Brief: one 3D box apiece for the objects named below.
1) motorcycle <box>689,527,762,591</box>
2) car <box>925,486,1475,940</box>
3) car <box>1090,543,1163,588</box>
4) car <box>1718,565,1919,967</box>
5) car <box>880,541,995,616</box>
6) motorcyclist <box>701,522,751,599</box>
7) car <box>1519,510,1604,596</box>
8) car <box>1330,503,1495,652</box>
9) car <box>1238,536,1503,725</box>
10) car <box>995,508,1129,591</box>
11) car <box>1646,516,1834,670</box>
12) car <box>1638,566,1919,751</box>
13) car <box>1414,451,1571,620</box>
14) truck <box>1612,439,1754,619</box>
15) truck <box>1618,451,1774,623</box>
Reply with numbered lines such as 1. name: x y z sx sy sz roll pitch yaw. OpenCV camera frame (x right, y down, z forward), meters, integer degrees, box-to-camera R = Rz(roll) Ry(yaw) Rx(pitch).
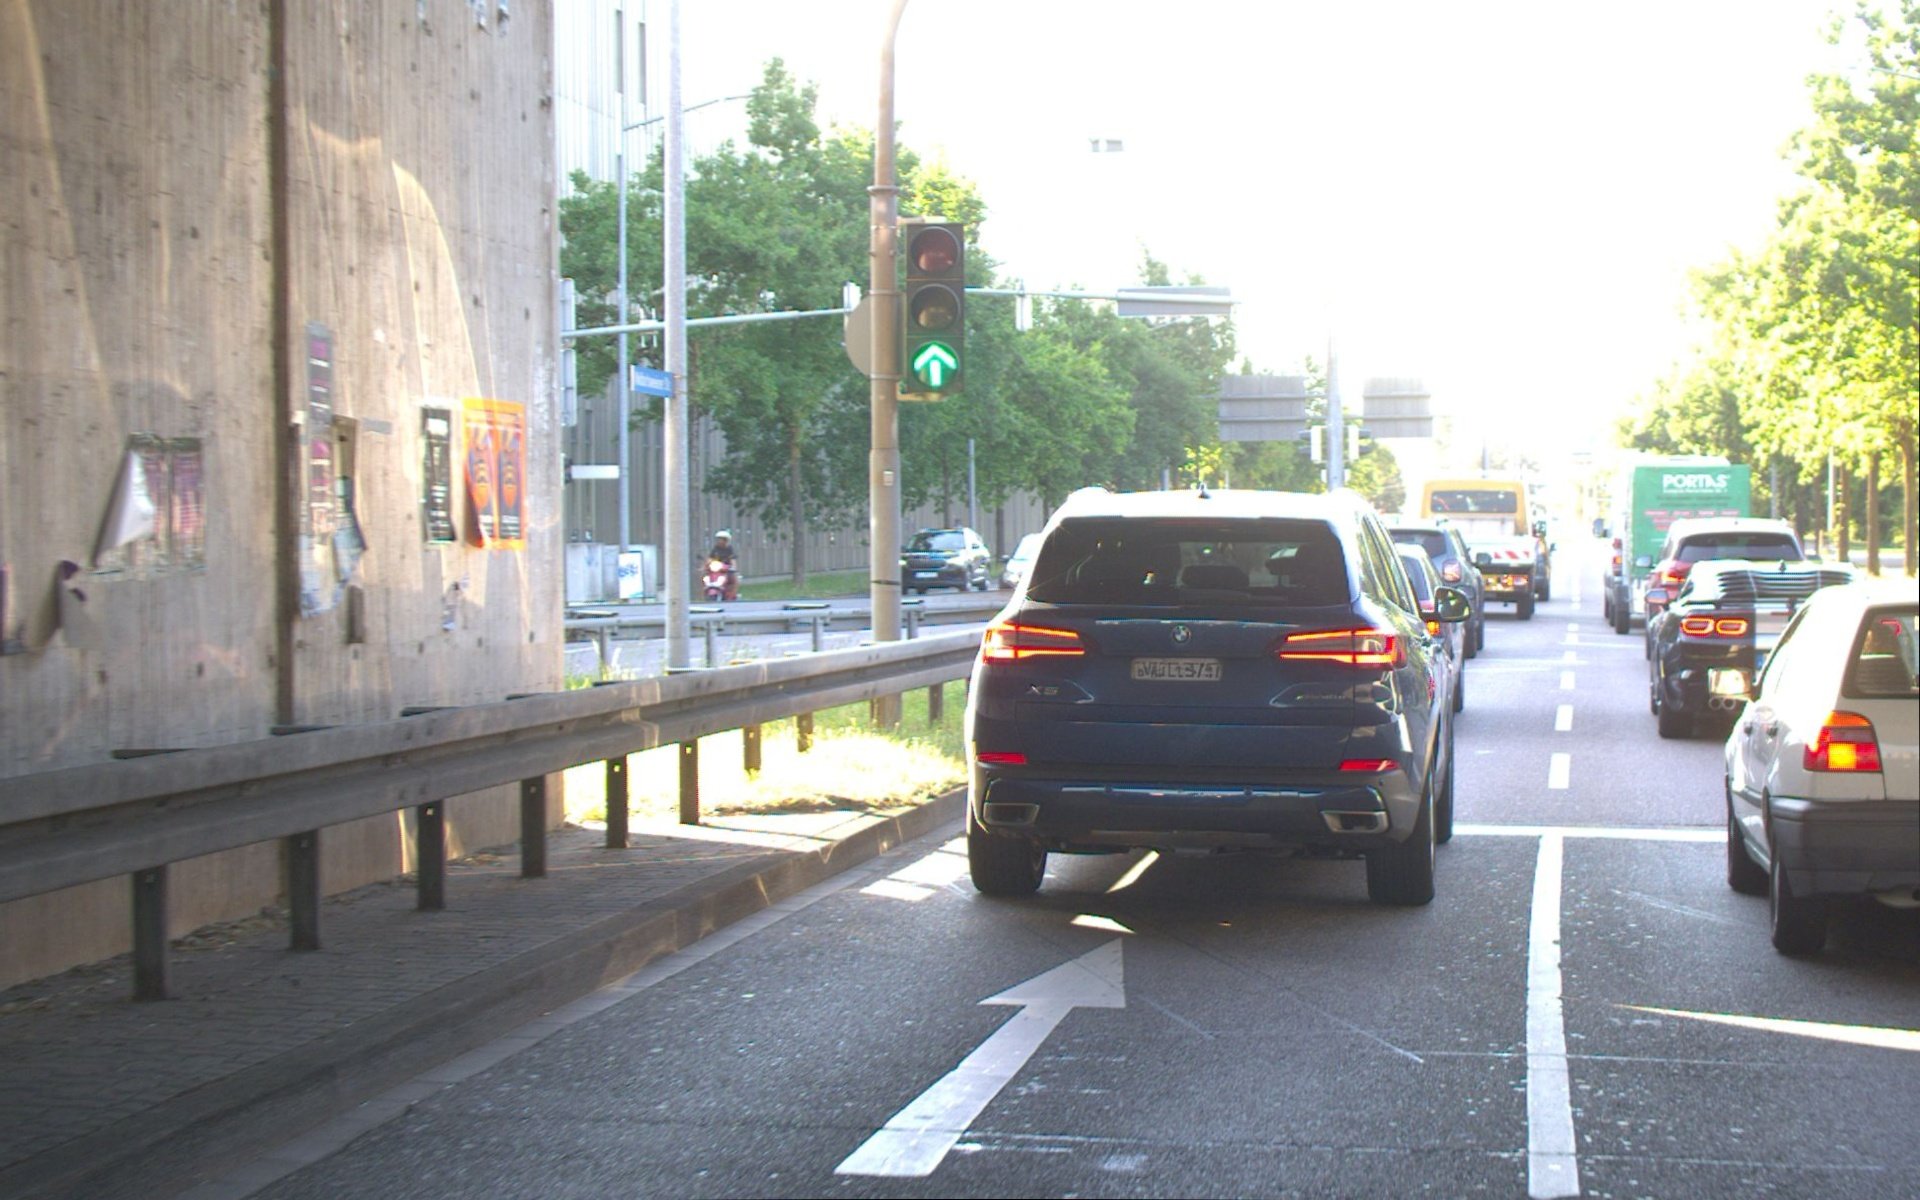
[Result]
1. motorcycle: -4.346 -0.749 63.933 0.681 1.152 2.237 1 1 14
2. car: 1.265 0.423 15.778 1.994 1.728 4.531 1 1 10
3. car: 5.776 -1.191 119.074 1.994 1.396 4.347 -4 0 9
4. car: 4.037 0.588 14.071 1.579 1.408 4.061 1 1 9
5. car: -0.527 -0.534 85.045 1.994 1.691 4.679 -3 0 9
6. motorcyclist: -4.348 -0.735 63.897 0.681 1.419 0.867 1 0 13
7. car: 12.150 -0.940 69.545 1.617 1.673 3.681 1 1 9
8. car: 5.451 -0.270 41.093 1.617 1.673 3.681 1 1 12
9. car: 3.412 0.220 28.056 1.618 1.405 3.680 1 1 15
10. car: 1.985 -0.941 65.533 1.994 1.470 4.079 2 1 9
11. car: 8.437 -0.088 37.448 1.797 1.553 3.998 1 1 10
12. car: 6.368 0.411 26.913 1.994 1.290 3.998 1 1 10
13. car: 8.541 -1.015 55.547 2.137 2.567 5.086 1 0 5
14. truck: 11.245 -1.086 53.693 1.997 2.659 3.998 1 0 10
15. truck: 10.452 -0.874 49.044 1.997 2.307 3.998 1 0 10
